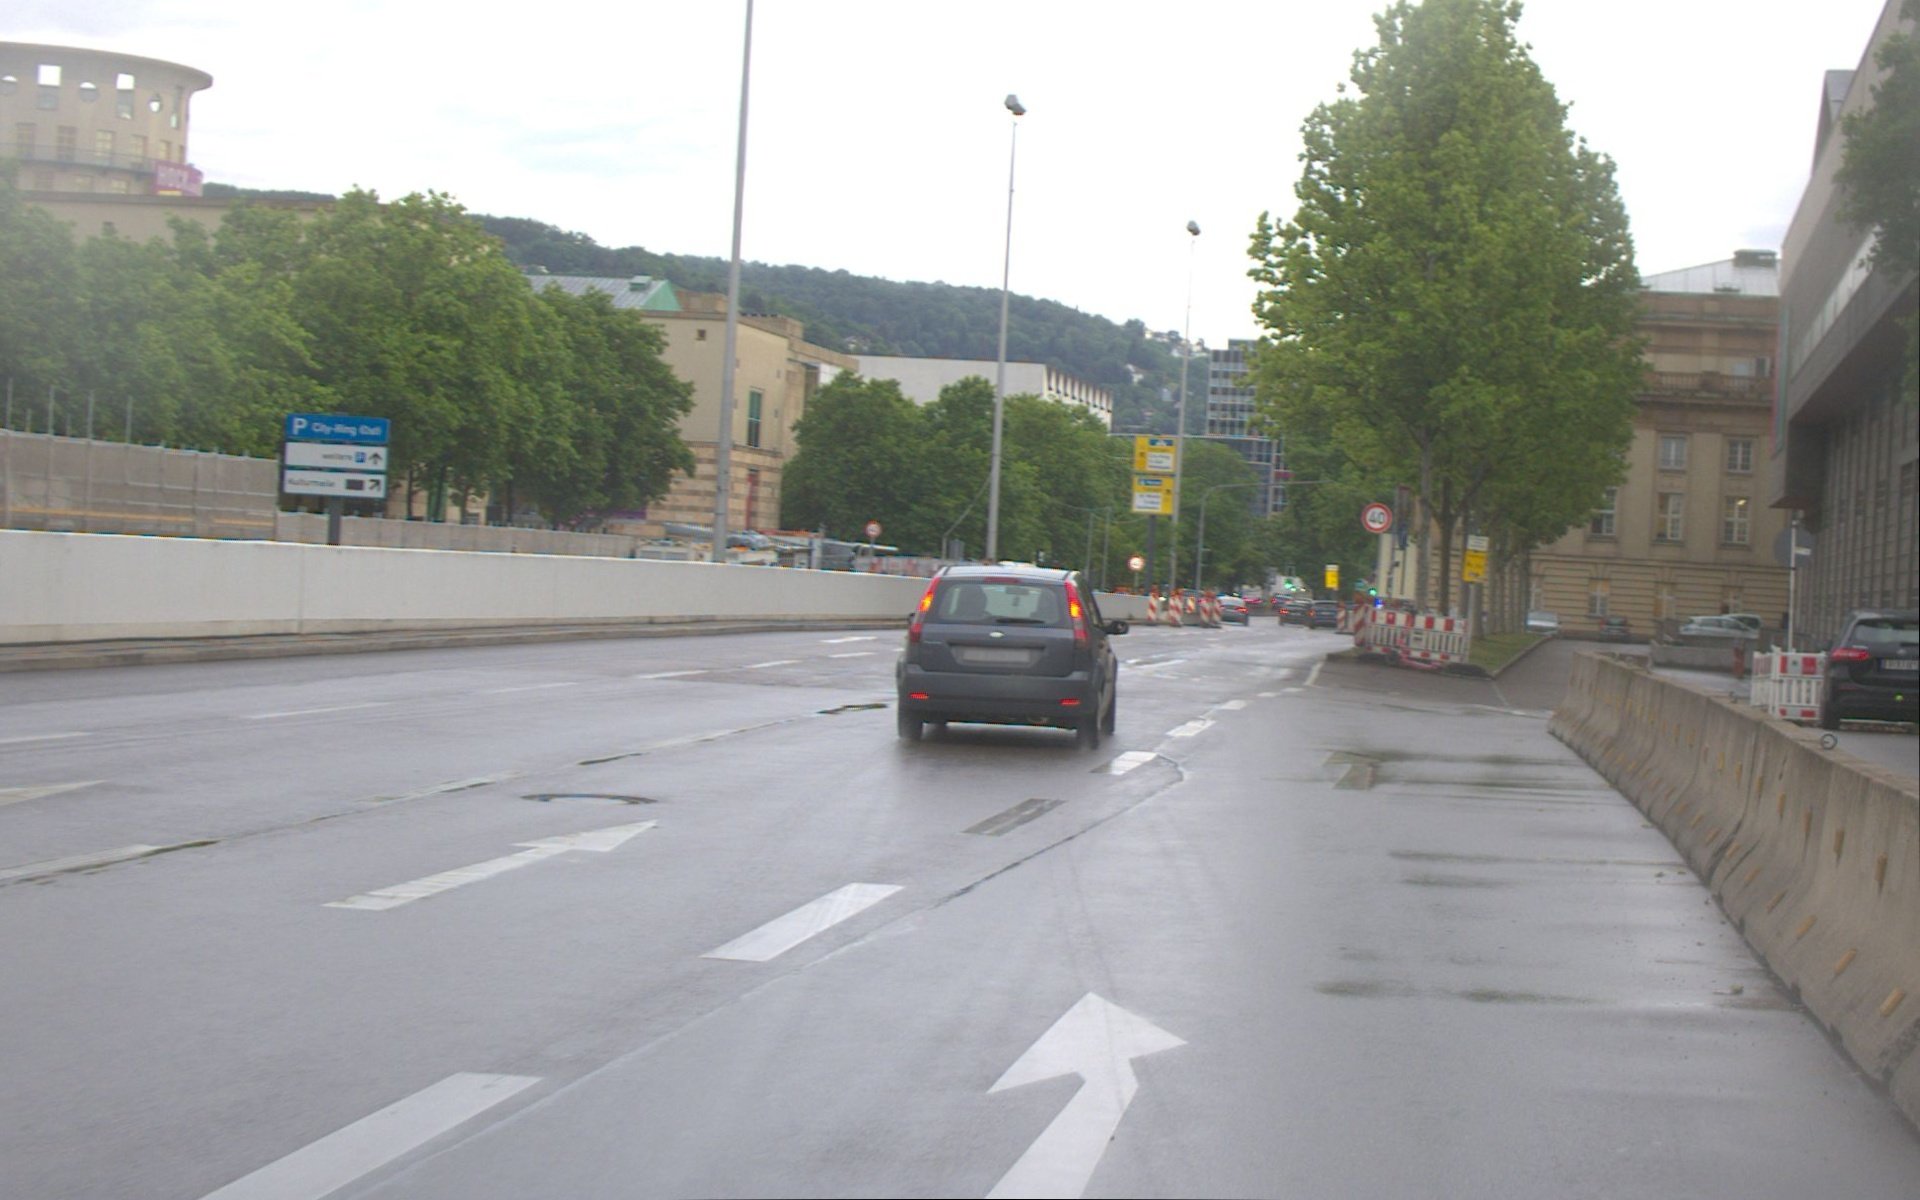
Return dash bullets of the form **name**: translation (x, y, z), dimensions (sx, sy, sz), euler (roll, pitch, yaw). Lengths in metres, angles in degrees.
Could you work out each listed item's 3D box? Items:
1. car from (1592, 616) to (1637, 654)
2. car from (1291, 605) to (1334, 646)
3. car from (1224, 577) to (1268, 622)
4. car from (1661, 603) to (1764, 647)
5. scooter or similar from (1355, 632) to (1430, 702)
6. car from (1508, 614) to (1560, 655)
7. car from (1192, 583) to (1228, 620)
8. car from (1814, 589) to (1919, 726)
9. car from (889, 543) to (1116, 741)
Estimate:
- **car**: translation (33.884, 1.808, 177.980), dimensions (1.995, 1.703, 3.997), euler (5, -1, 13)
- **car**: translation (18.840, 1.362, 183.630), dimensions (1.994, 2.007, 3.999), euler (5, 1, 8)
- **car**: translation (14.819, -0.003, 178.083), dimensions (1.994, 2.007, 3.999), euler (6, -2, 4)
- **car**: translation (31.155, 1.031, 142.399), dimensions (3.988, 1.554, 1.932), euler (2, -3, 9)
- **scooter or similar**: translation (8.828, 1.371, 70.161), dimensions (1.356, 1.281, 0.619), euler (6, -2, 10)
- **car**: translation (26.363, 1.581, 157.793), dimensions (1.995, 1.702, 3.997), euler (5, 1, 13)
- **car**: translation (10.218, 0.070, 140.729), dimensions (1.386, 1.382, 3.066), euler (3, -1, 4)
- **car**: translation (11.893, 0.729, 43.784), dimensions (1.806, 1.546, 4.323), euler (5, 1, 14)
- **car**: translation (0.408, 0.298, 28.761), dimensions (1.670, 1.422, 3.757), euler (4, 1, 2)
